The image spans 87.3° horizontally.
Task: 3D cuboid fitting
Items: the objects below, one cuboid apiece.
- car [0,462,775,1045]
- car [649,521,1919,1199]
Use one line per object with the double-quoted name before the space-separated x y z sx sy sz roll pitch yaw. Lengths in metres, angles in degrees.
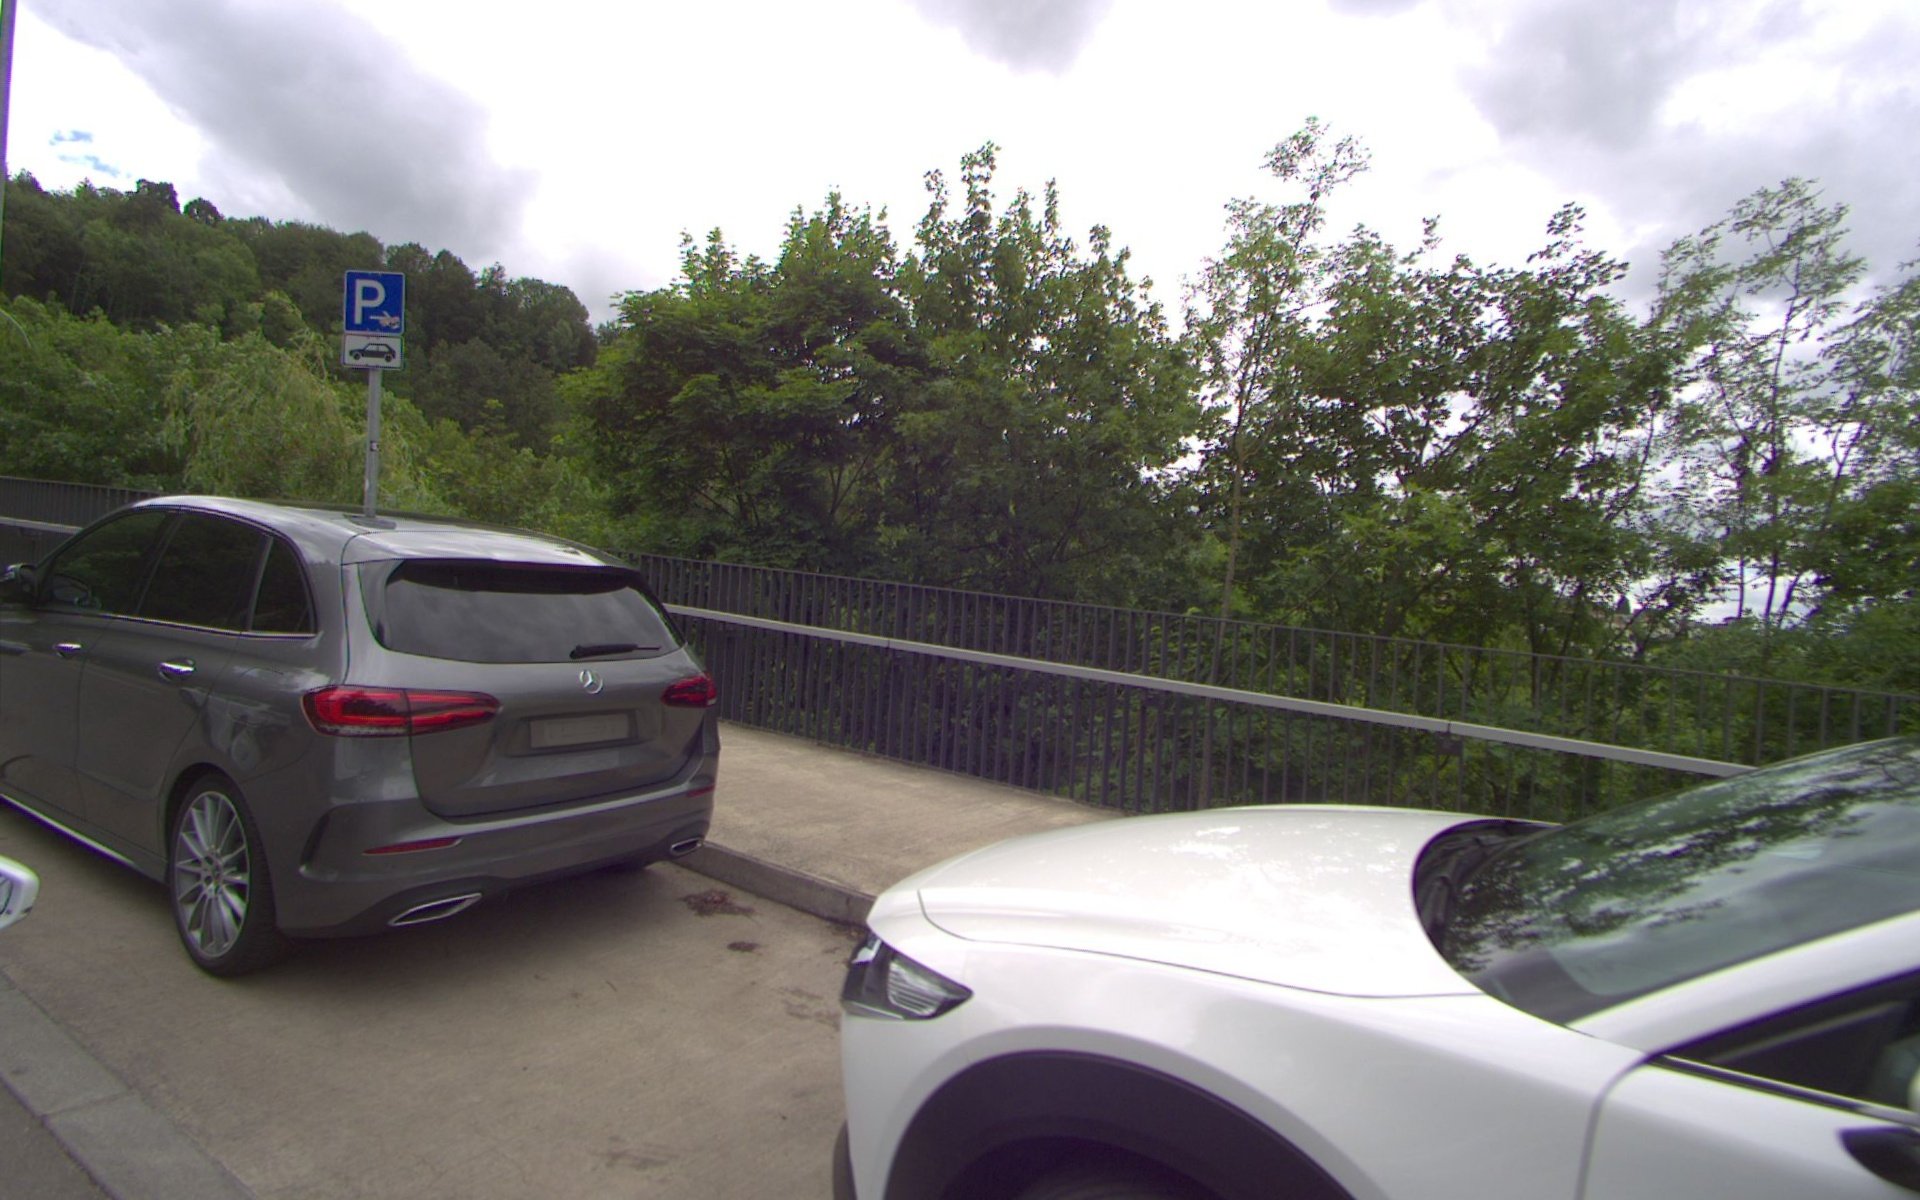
"car" -3.135 0.273 4.667 4.354 1.565 1.756 7 3 32
"car" 1.822 0.889 1.435 4.548 1.589 1.727 6 1 32
